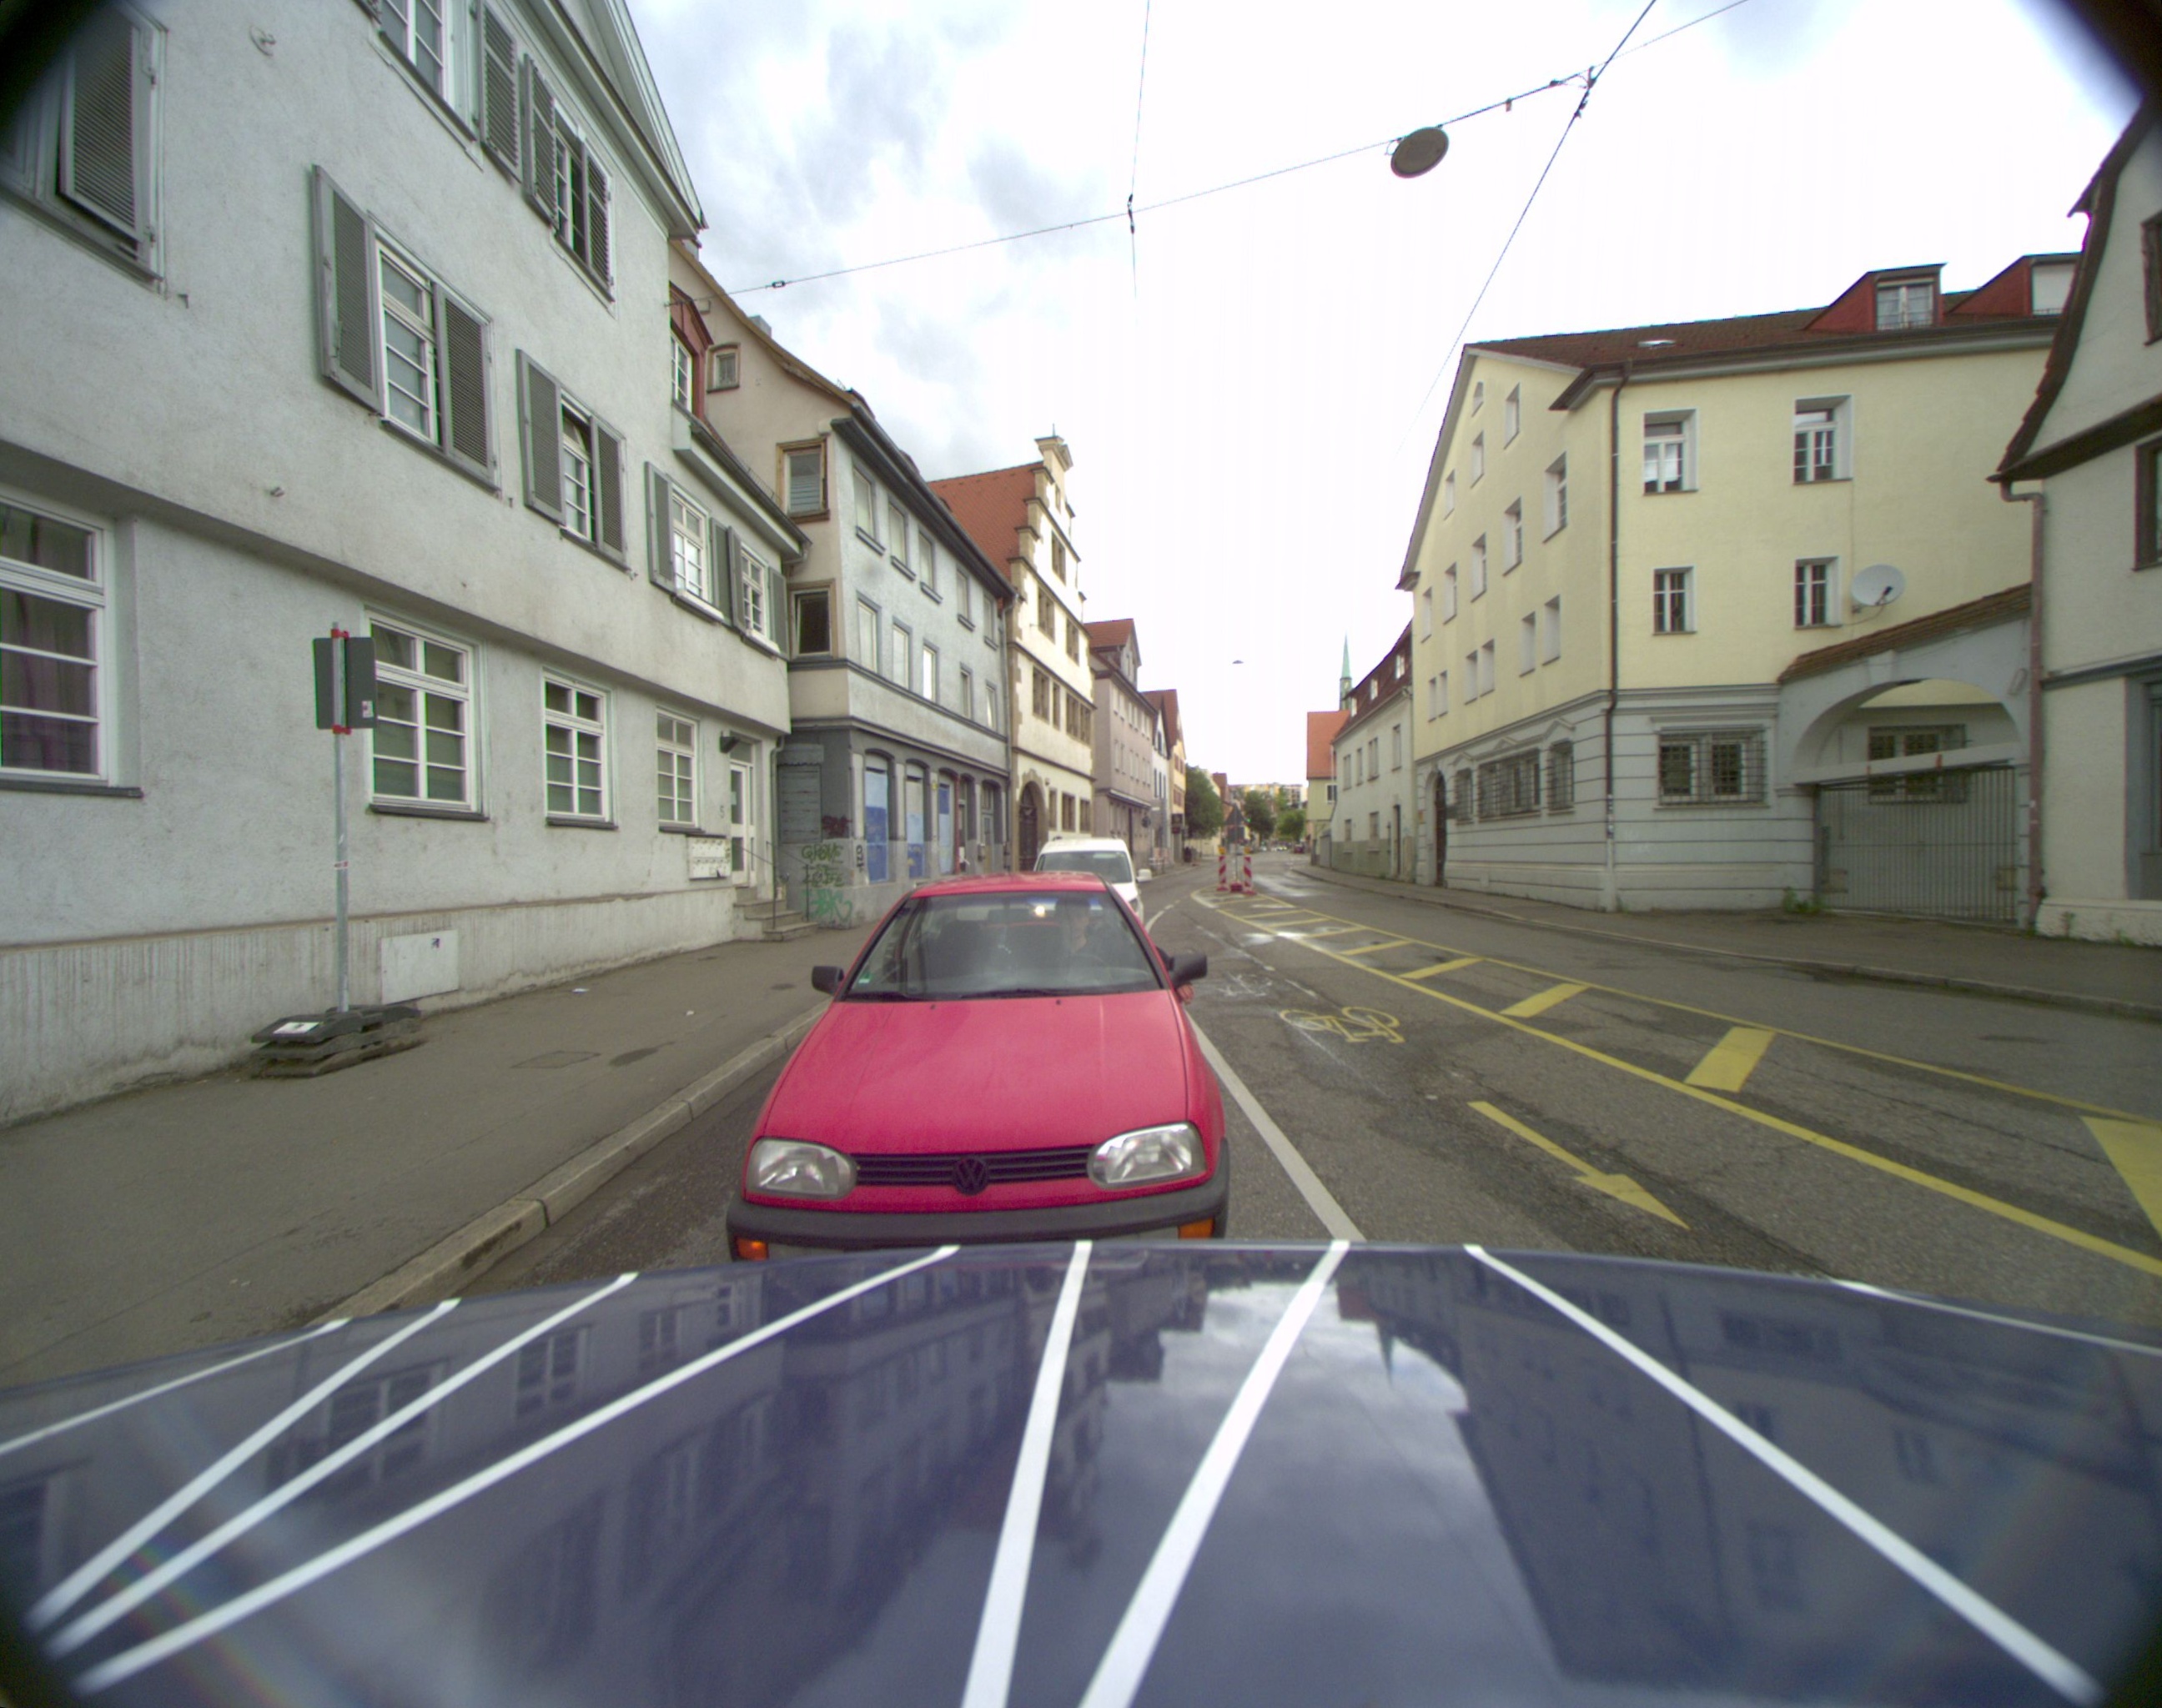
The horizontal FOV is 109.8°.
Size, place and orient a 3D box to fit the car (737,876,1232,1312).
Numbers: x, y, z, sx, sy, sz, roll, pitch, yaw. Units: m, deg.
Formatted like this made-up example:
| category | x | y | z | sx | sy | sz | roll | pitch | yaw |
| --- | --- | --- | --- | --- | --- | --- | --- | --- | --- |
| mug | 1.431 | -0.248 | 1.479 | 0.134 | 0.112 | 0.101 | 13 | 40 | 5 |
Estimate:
| category | x | y | z | sx | sy | sz | roll | pitch | yaw |
| --- | --- | --- | --- | --- | --- | --- | --- | --- | --- |
| car | -0.342 | 0.982 | 4.905 | 1.804 | 1.458 | 4.000 | -4 | 0 | 1 |

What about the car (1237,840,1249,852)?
| category | x | y | z | sx | sy | sz | roll | pitch | yaw |
| --- | --- | --- | --- | --- | --- | --- | --- | --- | --- |
| car | 28.476 | -1.371 | 133.498 | 1.996 | 2.002 | 4.004 | -1 | 0 | 13 |

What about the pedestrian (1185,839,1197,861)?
| category | x | y | z | sx | sy | sz | roll | pitch | yaw |
| --- | --- | --- | --- | --- | --- | --- | --- | --- | --- |
| pedestrian | 9.438 | -0.368 | 65.299 | 0.877 | 1.888 | 0.898 | -1 | 0 | 14 |

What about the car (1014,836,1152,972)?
| category | x | y | z | sx | sy | sz | roll | pitch | yaw |
| --- | --- | --- | --- | --- | --- | --- | --- | --- | --- |
| car | 0.057 | 0.675 | 12.253 | 1.804 | 1.781 | 4.349 | -1 | 0 | 1 |

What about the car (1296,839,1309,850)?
| category | x | y | z | sx | sy | sz | roll | pitch | yaw |
| --- | --- | --- | --- | --- | --- | --- | --- | --- | --- |
| car | 42.750 | -1.805 | 146.577 | 2.057 | 2.002 | 4.004 | -1 | 0 | 13 |

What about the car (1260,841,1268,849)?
| category | x | y | z | sx | sy | sz | roll | pitch | yaw |
| --- | --- | --- | --- | --- | --- | --- | --- | --- | --- |
| car | 44.983 | -2.192 | 186.807 | 1.996 | 2.002 | 4.004 | -1 | 0 | 13 |

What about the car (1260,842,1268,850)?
| category | x | y | z | sx | sy | sz | roll | pitch | yaw |
| --- | --- | --- | --- | --- | --- | --- | --- | --- | --- |
| car | 48.506 | -2.145 | 201.281 | 1.996 | 2.002 | 4.004 | -1 | 0 | 13 |

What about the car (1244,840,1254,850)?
| category | x | y | z | sx | sy | sz | roll | pitch | yaw |
| --- | --- | --- | --- | --- | --- | --- | --- | --- | --- |
| car | 34.054 | -1.787 | 154.263 | 1.996 | 2.002 | 4.004 | -1 | 0 | 13 |
